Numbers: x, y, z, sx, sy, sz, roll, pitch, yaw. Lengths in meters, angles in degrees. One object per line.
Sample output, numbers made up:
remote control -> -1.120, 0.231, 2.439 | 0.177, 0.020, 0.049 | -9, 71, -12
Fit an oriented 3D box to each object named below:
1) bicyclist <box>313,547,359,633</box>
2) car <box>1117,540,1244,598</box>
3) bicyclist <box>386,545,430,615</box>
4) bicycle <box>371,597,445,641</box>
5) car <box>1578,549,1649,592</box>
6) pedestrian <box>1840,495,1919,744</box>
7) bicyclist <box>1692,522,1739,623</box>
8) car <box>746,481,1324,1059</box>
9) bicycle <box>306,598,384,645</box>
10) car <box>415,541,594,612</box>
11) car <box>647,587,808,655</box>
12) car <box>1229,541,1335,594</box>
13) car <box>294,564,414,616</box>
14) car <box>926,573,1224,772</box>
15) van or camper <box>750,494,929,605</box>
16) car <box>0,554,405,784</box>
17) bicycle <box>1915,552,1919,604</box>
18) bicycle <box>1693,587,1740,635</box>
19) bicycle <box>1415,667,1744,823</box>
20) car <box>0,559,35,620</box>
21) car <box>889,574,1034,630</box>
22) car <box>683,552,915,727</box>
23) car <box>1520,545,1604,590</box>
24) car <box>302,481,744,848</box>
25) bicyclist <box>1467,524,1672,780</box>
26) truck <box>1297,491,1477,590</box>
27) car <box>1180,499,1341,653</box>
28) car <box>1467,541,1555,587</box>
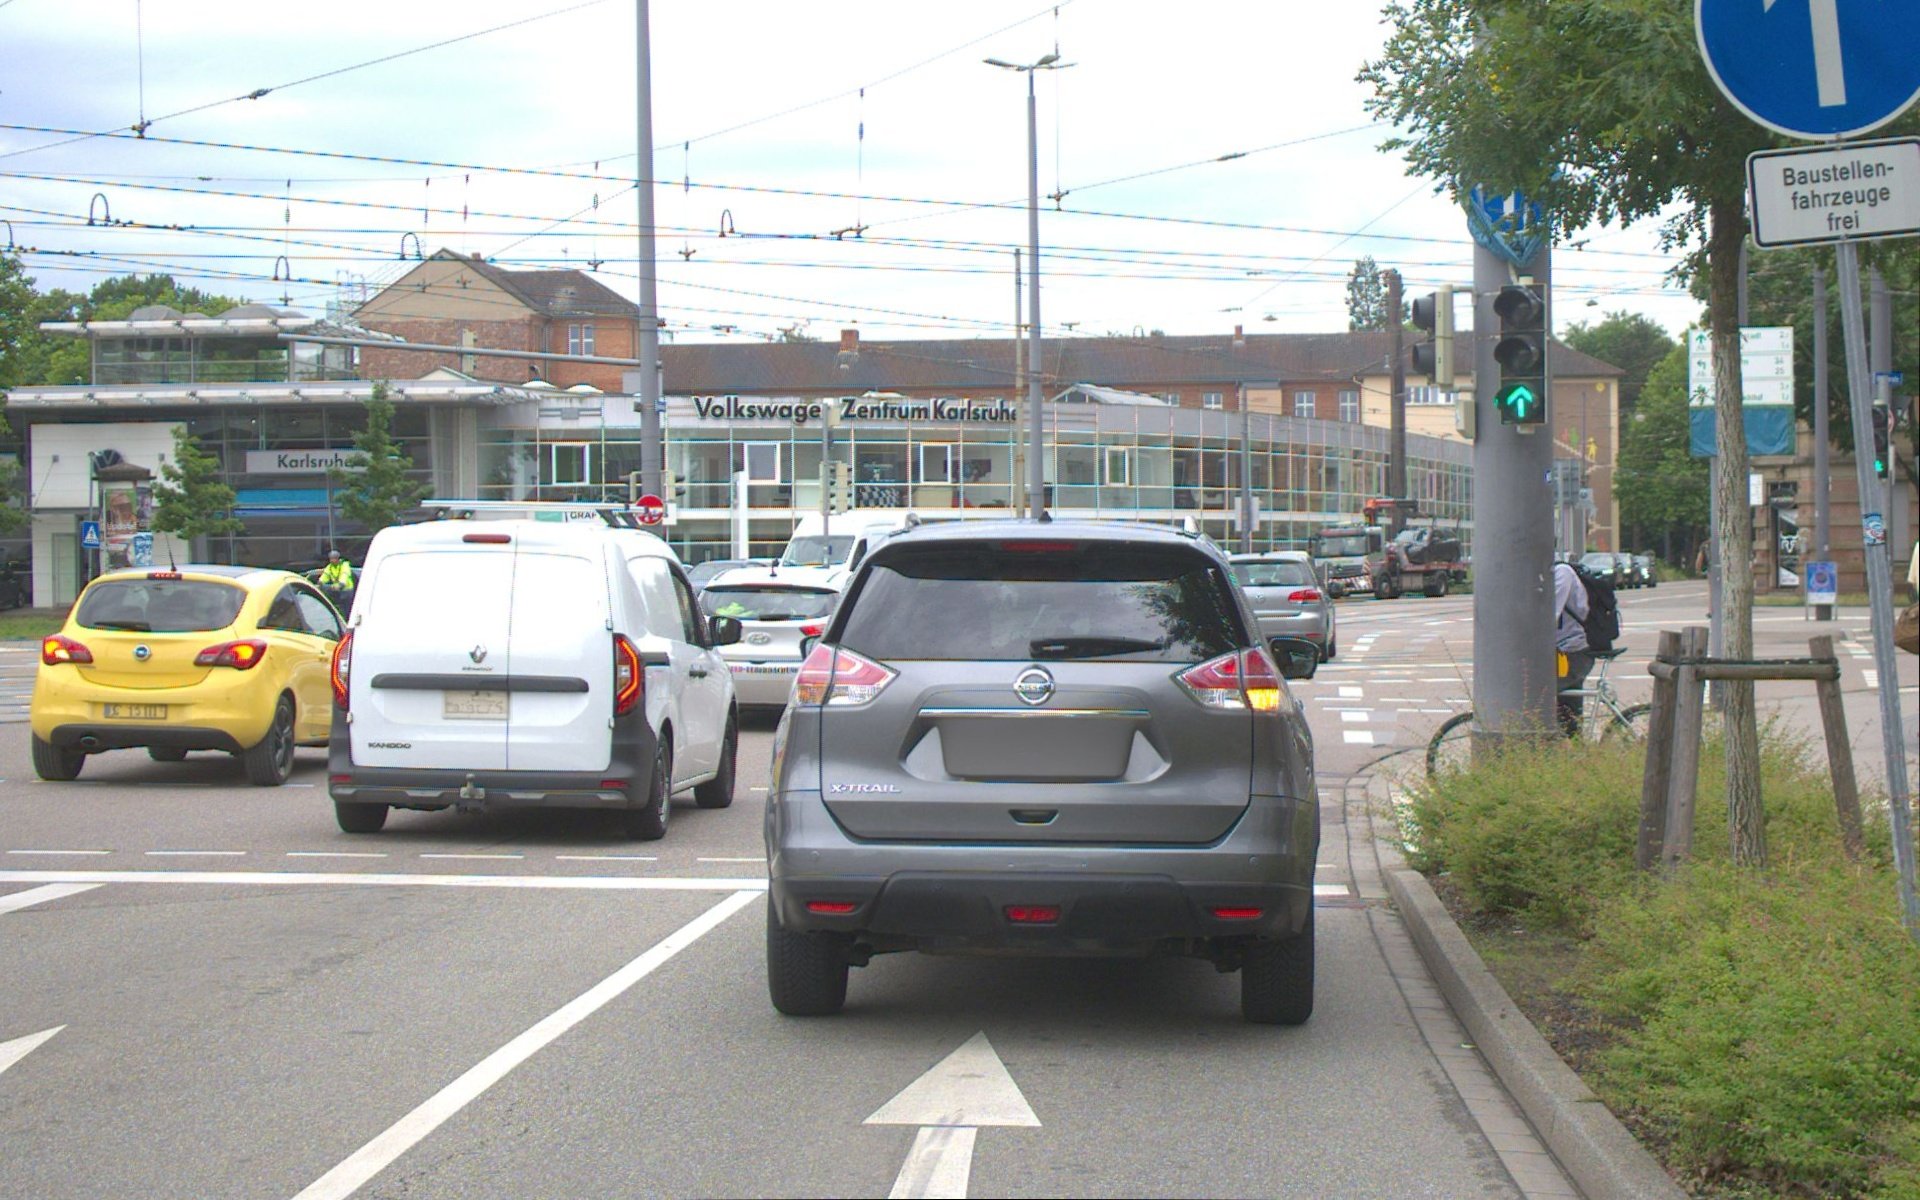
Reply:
bicyclist -> -13.245, -0.217, 73.004 | 0.628, 1.797, 0.796 | 0, 1, 23
car -> 7.333, -1.040, 113.814 | 2.160, 1.850, 5.439 | 0, 1, 28
bicyclist -> -12.186, -0.445, 75.885 | 0.566, 1.503, 0.856 | 0, 2, 23
bicycle -> -12.187, 0.414, 75.943 | 0.519, 0.923, 2.220 | 0, 1, 22
car -> 28.559, -1.314, 150.202 | 1.996, 1.832, 4.517 | 0, 1, 25
pedestrian -> 7.408, 0.136, 26.275 | 0.886, 1.861, 1.284 | 0, 1, 37
bicyclist -> 12.833, -0.462, 58.427 | 0.688, 1.702, 0.798 | 0, 1, 7
car -> 0.331, 0.526, 12.487 | 1.750, 1.750, 3.923 | -1, 0, 3
bicycle -> -13.108, 0.453, 73.333 | 0.519, 0.926, 2.220 | 0, 1, 22
car -> -13.412, -0.711, 101.323 | 4.770, 2.007, 2.119 | 1, 1, 19
car -> -5.134, 0.443, 76.543 | 1.995, 1.415, 4.658 | 0, 1, 18
car -> 11.320, -1.155, 120.671 | 1.997, 1.832, 4.515 | 0, 1, 30
car -> -17.015, -0.294, 96.638 | 1.637, 1.415, 3.734 | 0, 1, 21
car -> 0.984, 0.513, 26.961 | 1.994, 1.415, 3.999 | 0, 1, 7
van or camper -> -2.905, -1.220, 84.753 | 2.417, 2.602, 6.046 | 1, 1, 19
car -> -5.347, 0.430, 24.726 | 1.818, 1.489, 4.000 | 1, 1, 4
bicycle -> 25.823, -0.559, 89.628 | 0.959, 1.349, 3.115 | 1, 1, 32
bicycle -> 12.837, 0.181, 58.392 | 0.619, 0.791, 1.591 | 0, 1, 7
bicycle -> 3.738, 0.871, 20.843 | 1.820, 0.837, 0.767 | -2, 1, -1
car -> -32.562, -0.354, 114.560 | 1.994, 2.007, 3.999 | 1, 1, 7
car -> 0.076, 0.037, 91.494 | 1.996, 1.415, 4.795 | 0, 1, 25
car -> -1.435, 0.323, 32.088 | 1.853, 1.503, 4.000 | 1, 1, 2
car -> 25.009, -1.351, 142.795 | 1.997, 1.832, 4.515 | 0, 1, 30
car -> -2.445, 0.314, 20.269 | 1.912, 1.933, 4.131 | 0, 1, 2
bicyclist -> 3.685, 0.305, 20.844 | 1.097, 1.515, 0.760 | 0, 0, -1
truck -> 15.959, -2.174, 127.922 | 2.799, 3.537, 9.206 | 1, 1, 34
car -> 4.076, -0.335, 47.193 | 1.994, 2.007, 4.000 | 1, 1, 2
car -> 21.981, -1.449, 137.069 | 1.997, 1.832, 4.515 | 0, 1, 30
